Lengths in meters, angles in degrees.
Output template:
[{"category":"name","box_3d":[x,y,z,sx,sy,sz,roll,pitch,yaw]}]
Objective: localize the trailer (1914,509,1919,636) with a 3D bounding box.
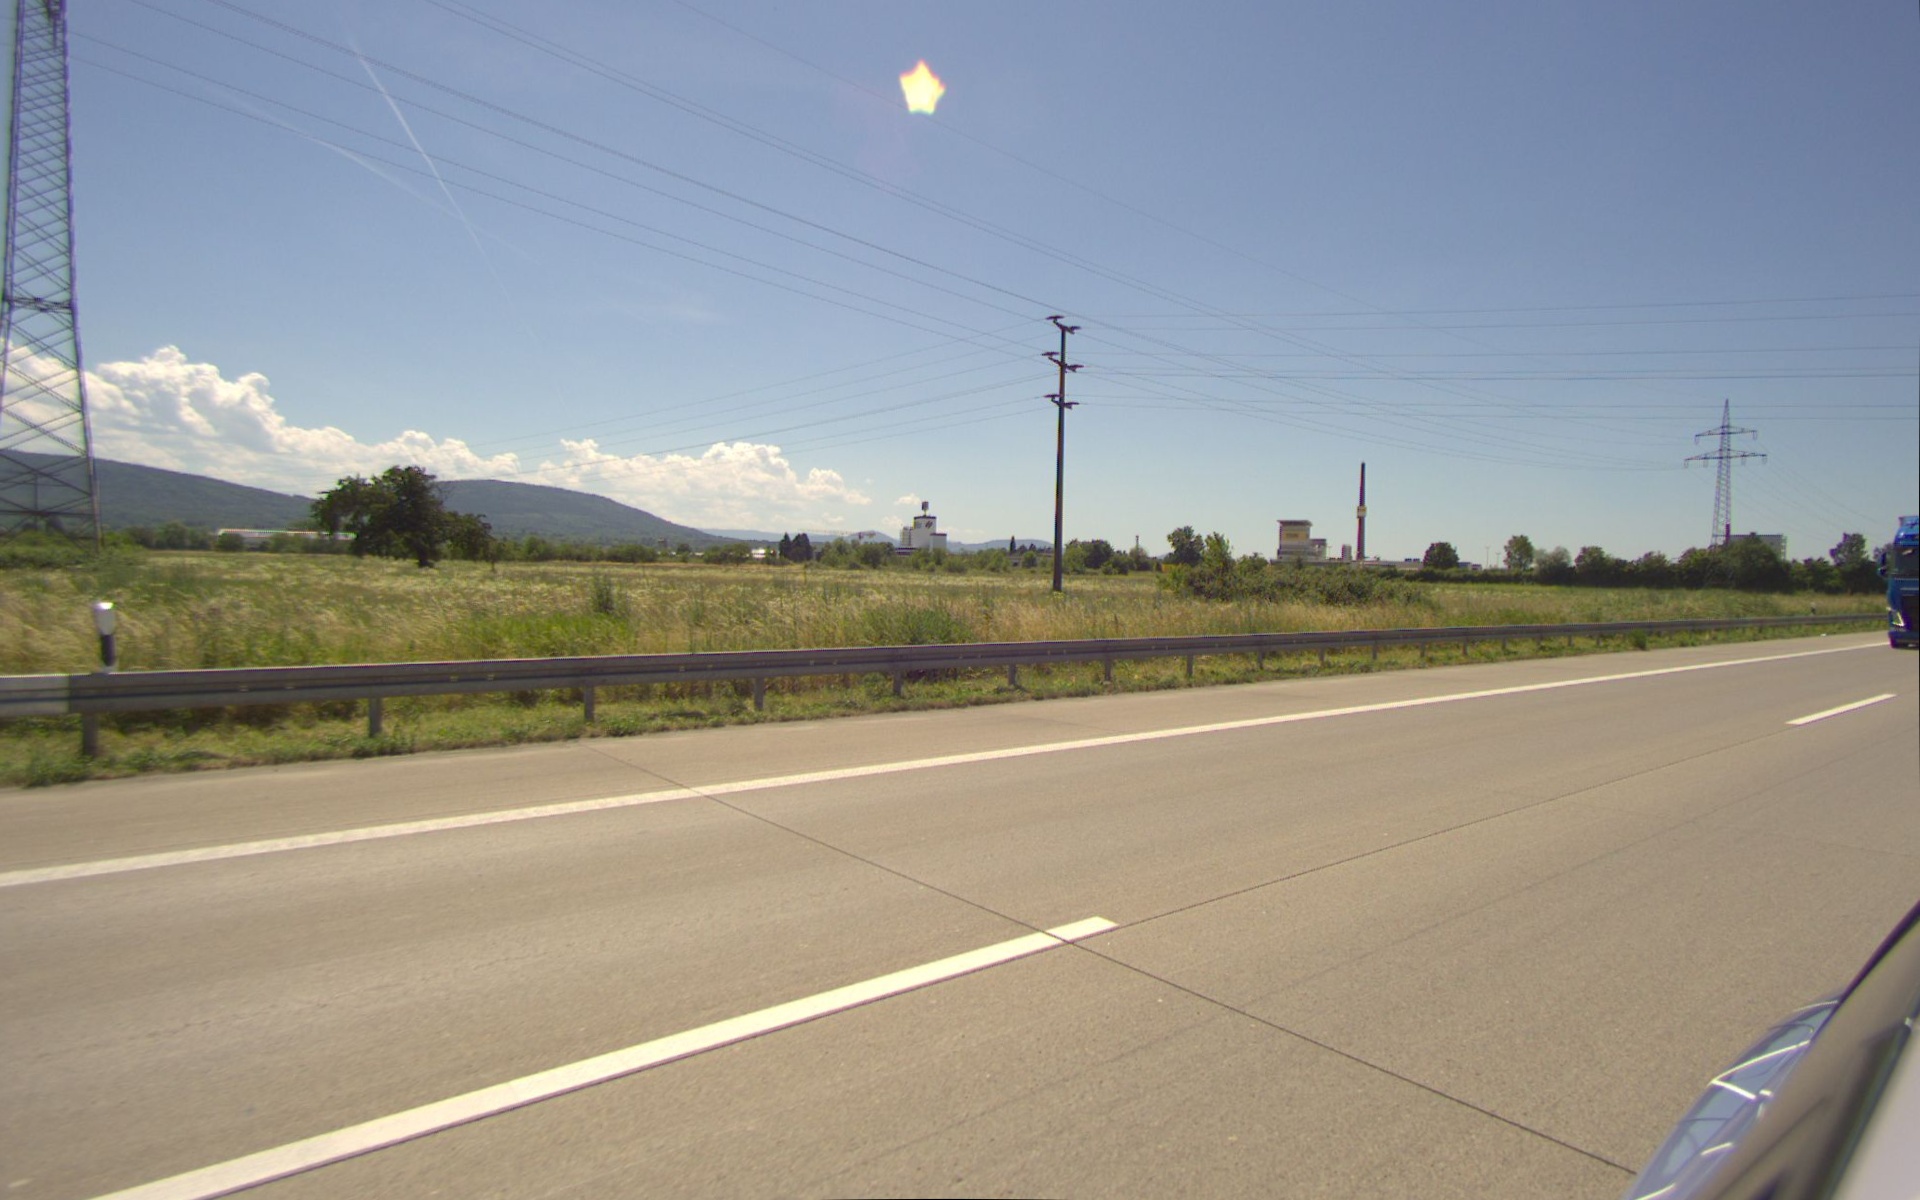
[{"category":"trailer","box_3d":[36.565,-0.911,35.479,12.666,4.095,2.715,0,0,-38]}]

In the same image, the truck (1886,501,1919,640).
[{"category":"truck","box_3d":[30.624,-0.876,30.800,5.366,4.095,2.757,0,0,-38]}]
